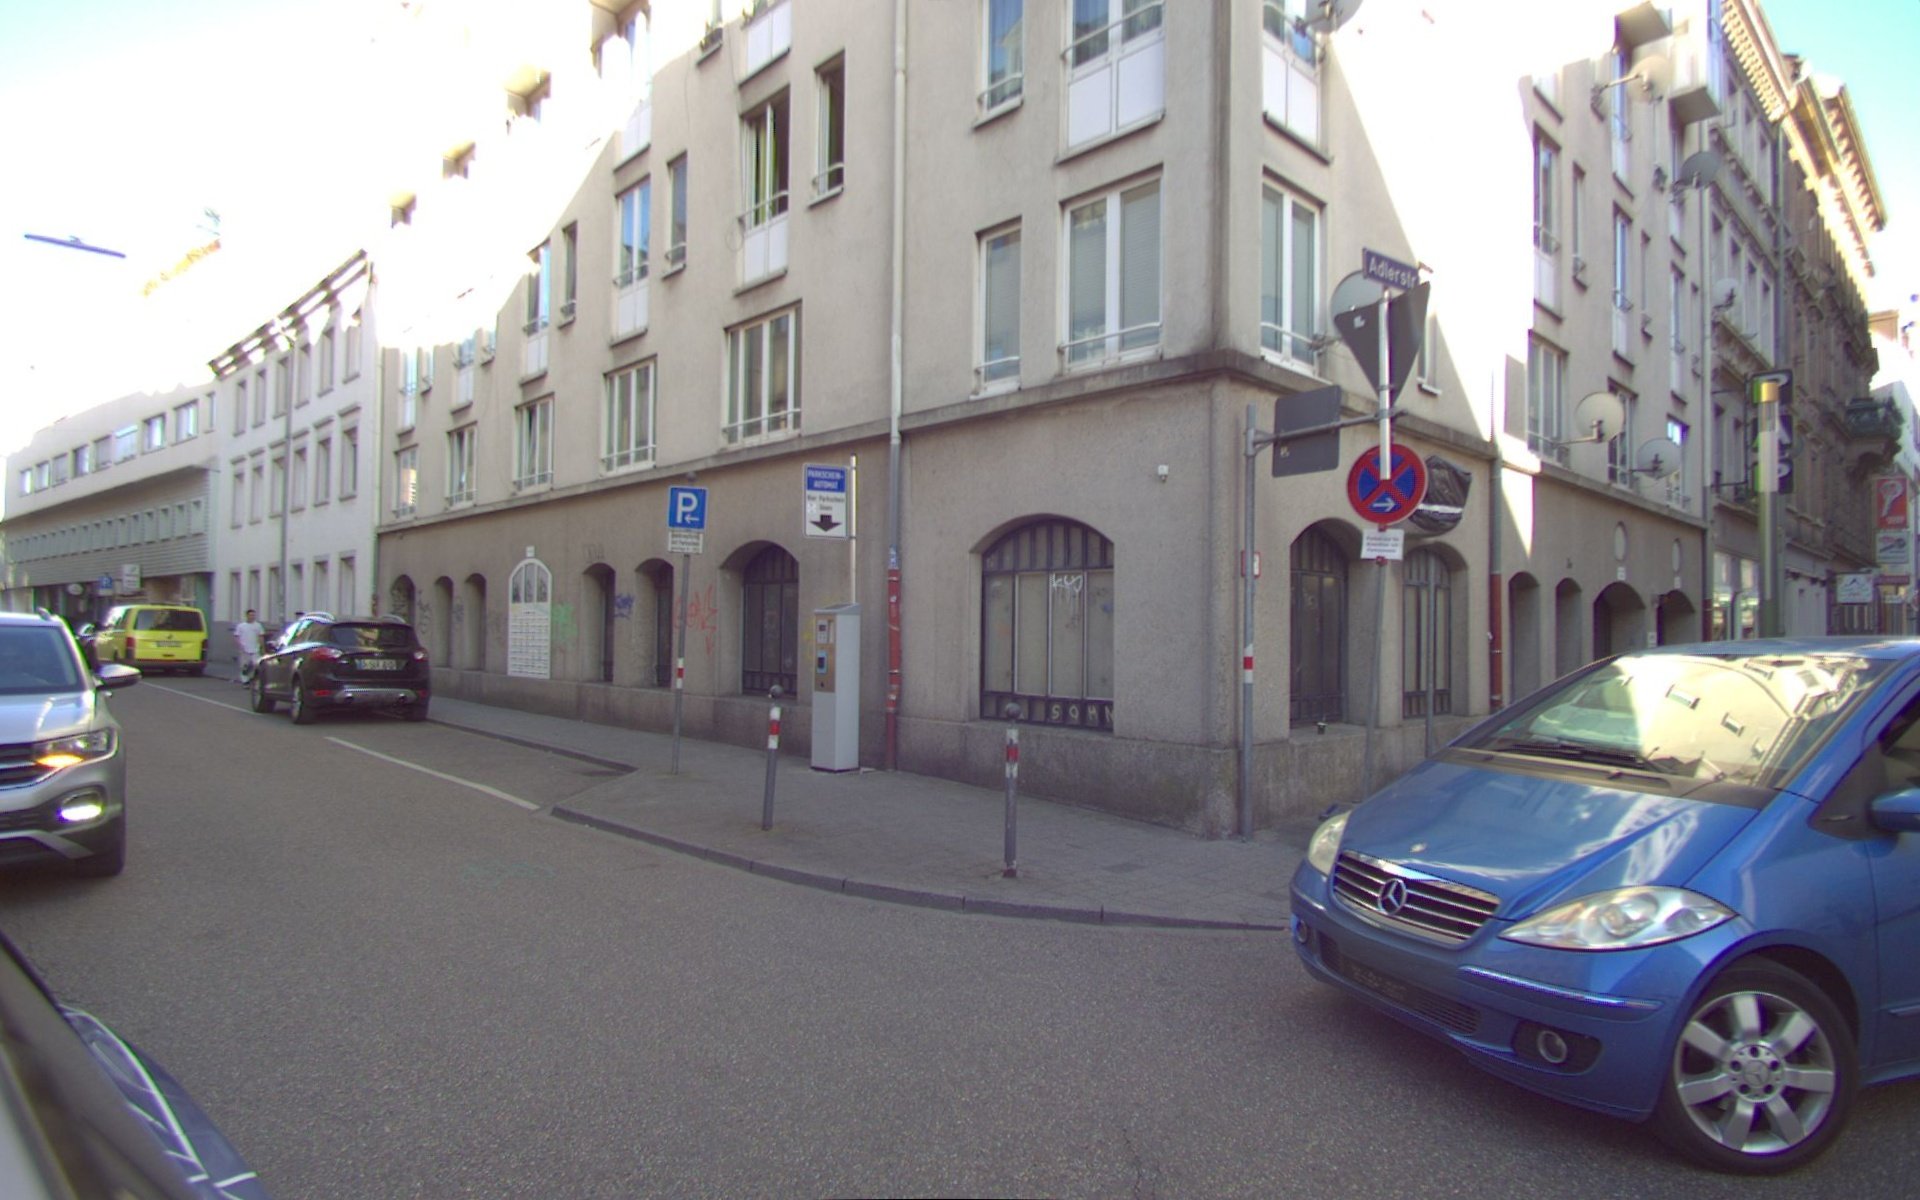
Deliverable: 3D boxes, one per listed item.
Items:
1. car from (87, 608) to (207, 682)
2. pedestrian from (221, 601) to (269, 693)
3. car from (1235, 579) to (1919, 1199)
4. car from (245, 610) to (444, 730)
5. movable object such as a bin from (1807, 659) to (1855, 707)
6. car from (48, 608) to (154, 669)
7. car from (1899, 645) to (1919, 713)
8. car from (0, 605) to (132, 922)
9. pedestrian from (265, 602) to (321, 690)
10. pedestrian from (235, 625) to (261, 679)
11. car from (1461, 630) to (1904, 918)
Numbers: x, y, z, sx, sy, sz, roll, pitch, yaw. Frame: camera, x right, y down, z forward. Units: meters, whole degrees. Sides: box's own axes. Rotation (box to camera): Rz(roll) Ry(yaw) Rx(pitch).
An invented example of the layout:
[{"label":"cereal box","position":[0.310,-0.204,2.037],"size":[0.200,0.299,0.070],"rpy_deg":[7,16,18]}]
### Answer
[{"label":"car","position":[-22.308,1.175,27.731],"size":[3.998,1.888,1.864],"rpy_deg":[-1,-2,41]},{"label":"pedestrian","position":[-16.266,1.063,23.020],"size":[0.699,2.029,0.706],"rpy_deg":[-1,-3,43]},{"label":"car","position":[3.233,0.830,3.880],"size":[3.741,1.605,1.862],"rpy_deg":[1,-4,-16]},{"label":"car","position":[-10.182,1.109,16.632],"size":[1.861,1.717,4.003],"rpy_deg":[6,-5,-44]},{"label":"movable object such as a bin","position":[20.798,1.964,24.175],"size":[0.837,1.056,0.744],"rpy_deg":[-1,0,43]},{"label":"car","position":[-27.303,1.225,32.126],"size":[3.998,1.781,1.864],"rpy_deg":[-1,-5,41]},{"label":"car","position":[23.676,1.875,24.136],"size":[1.794,1.536,3.942],"rpy_deg":[0,-1,44]},{"label":"car","position":[-6.423,0.825,6.093],"size":[4.001,1.558,1.738],"rpy_deg":[-1,-2,44]},{"label":"pedestrian","position":[-15.717,1.082,23.852],"size":[0.699,2.029,0.924],"rpy_deg":[-1,-3,43]},{"label":"pedestrian","position":[-19.574,1.415,27.827],"size":[0.548,1.459,0.584],"rpy_deg":[2,-3,-36]},{"label":"car","position":[5.598,1.074,7.672],"size":[3.905,1.605,1.747],"rpy_deg":[2,-2,-39]}]
